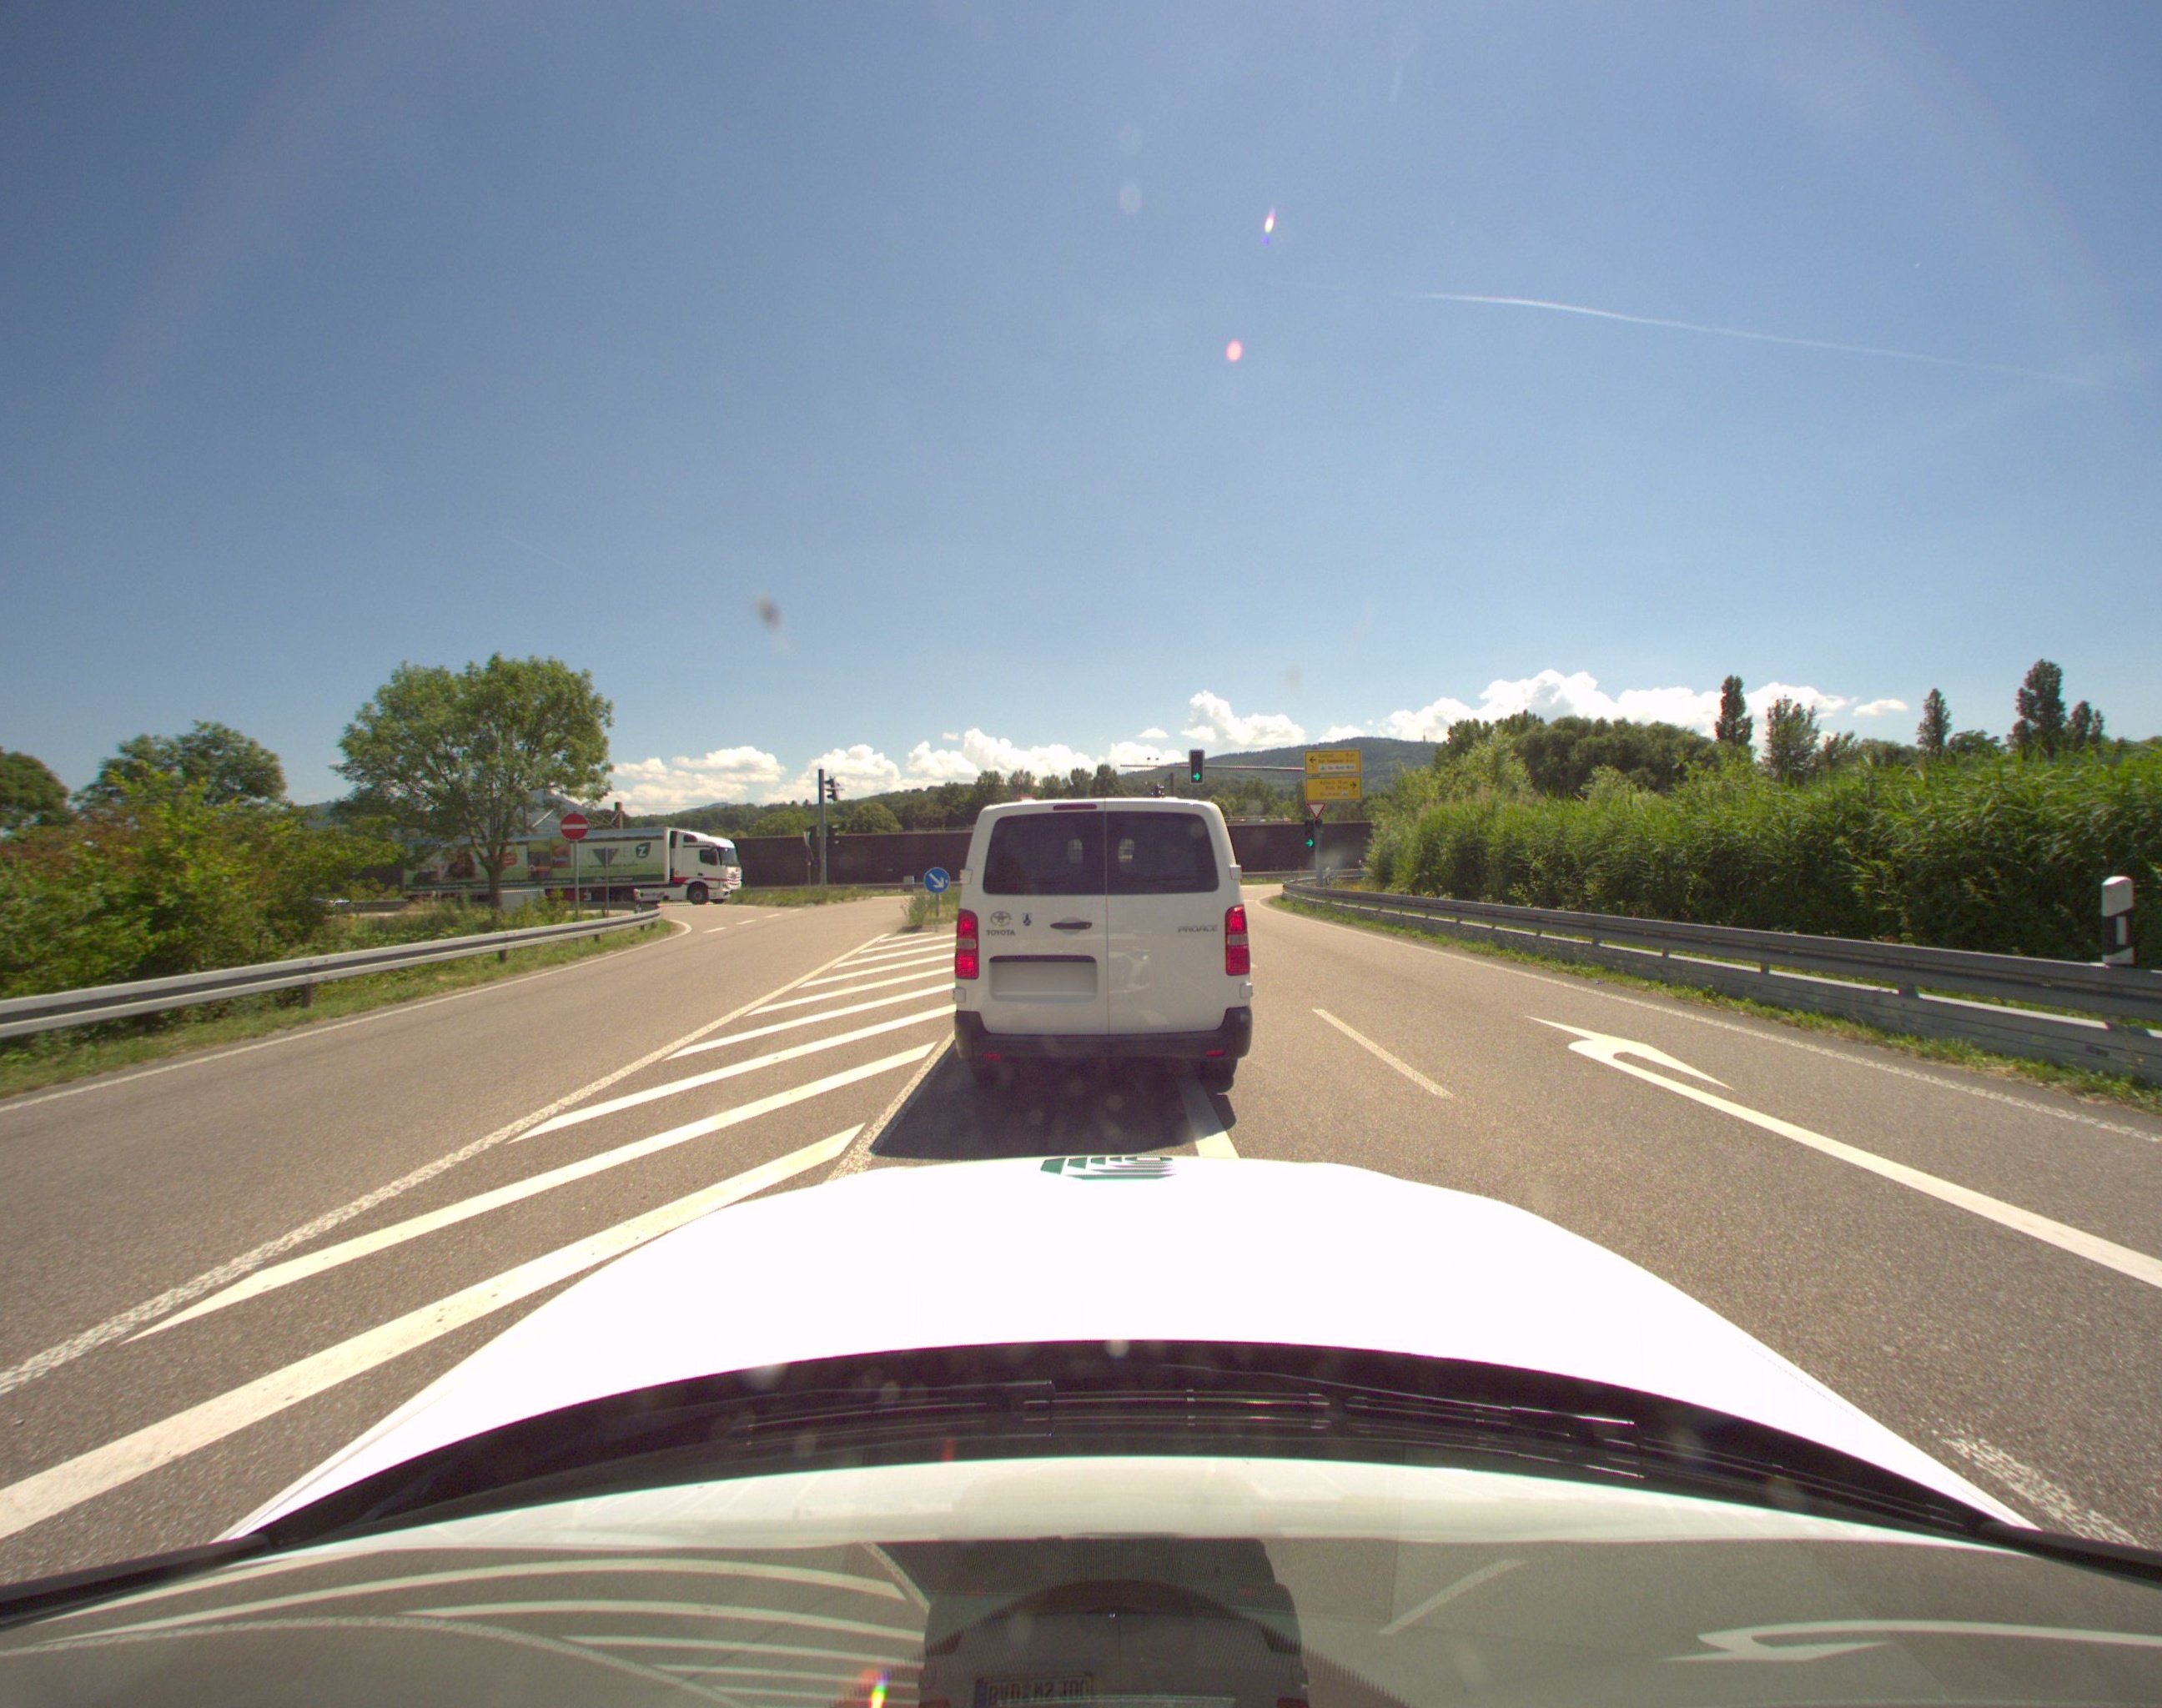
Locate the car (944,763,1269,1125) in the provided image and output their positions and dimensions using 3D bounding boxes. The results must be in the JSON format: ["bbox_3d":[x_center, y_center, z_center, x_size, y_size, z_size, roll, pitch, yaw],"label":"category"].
[{"bbox_3d":[0.200,0.527,6.622,1.808,2.017,4.001,-1,-1,2],"label":"car"}]

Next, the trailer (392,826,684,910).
[{"bbox_3d":[-28.214,0.729,42.726,13.098,3.954,3.061,-1,-1,0],"label":"trailer"}]

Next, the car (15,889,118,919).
[{"bbox_3d":[-53.896,2.628,43.298,3.462,1.464,1.554,-1,-1,0],"label":"car"}]

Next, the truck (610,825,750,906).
[{"bbox_3d":[-20.956,0.593,42.782,5.746,3.954,3.062,-1,-1,0],"label":"truck"}]
